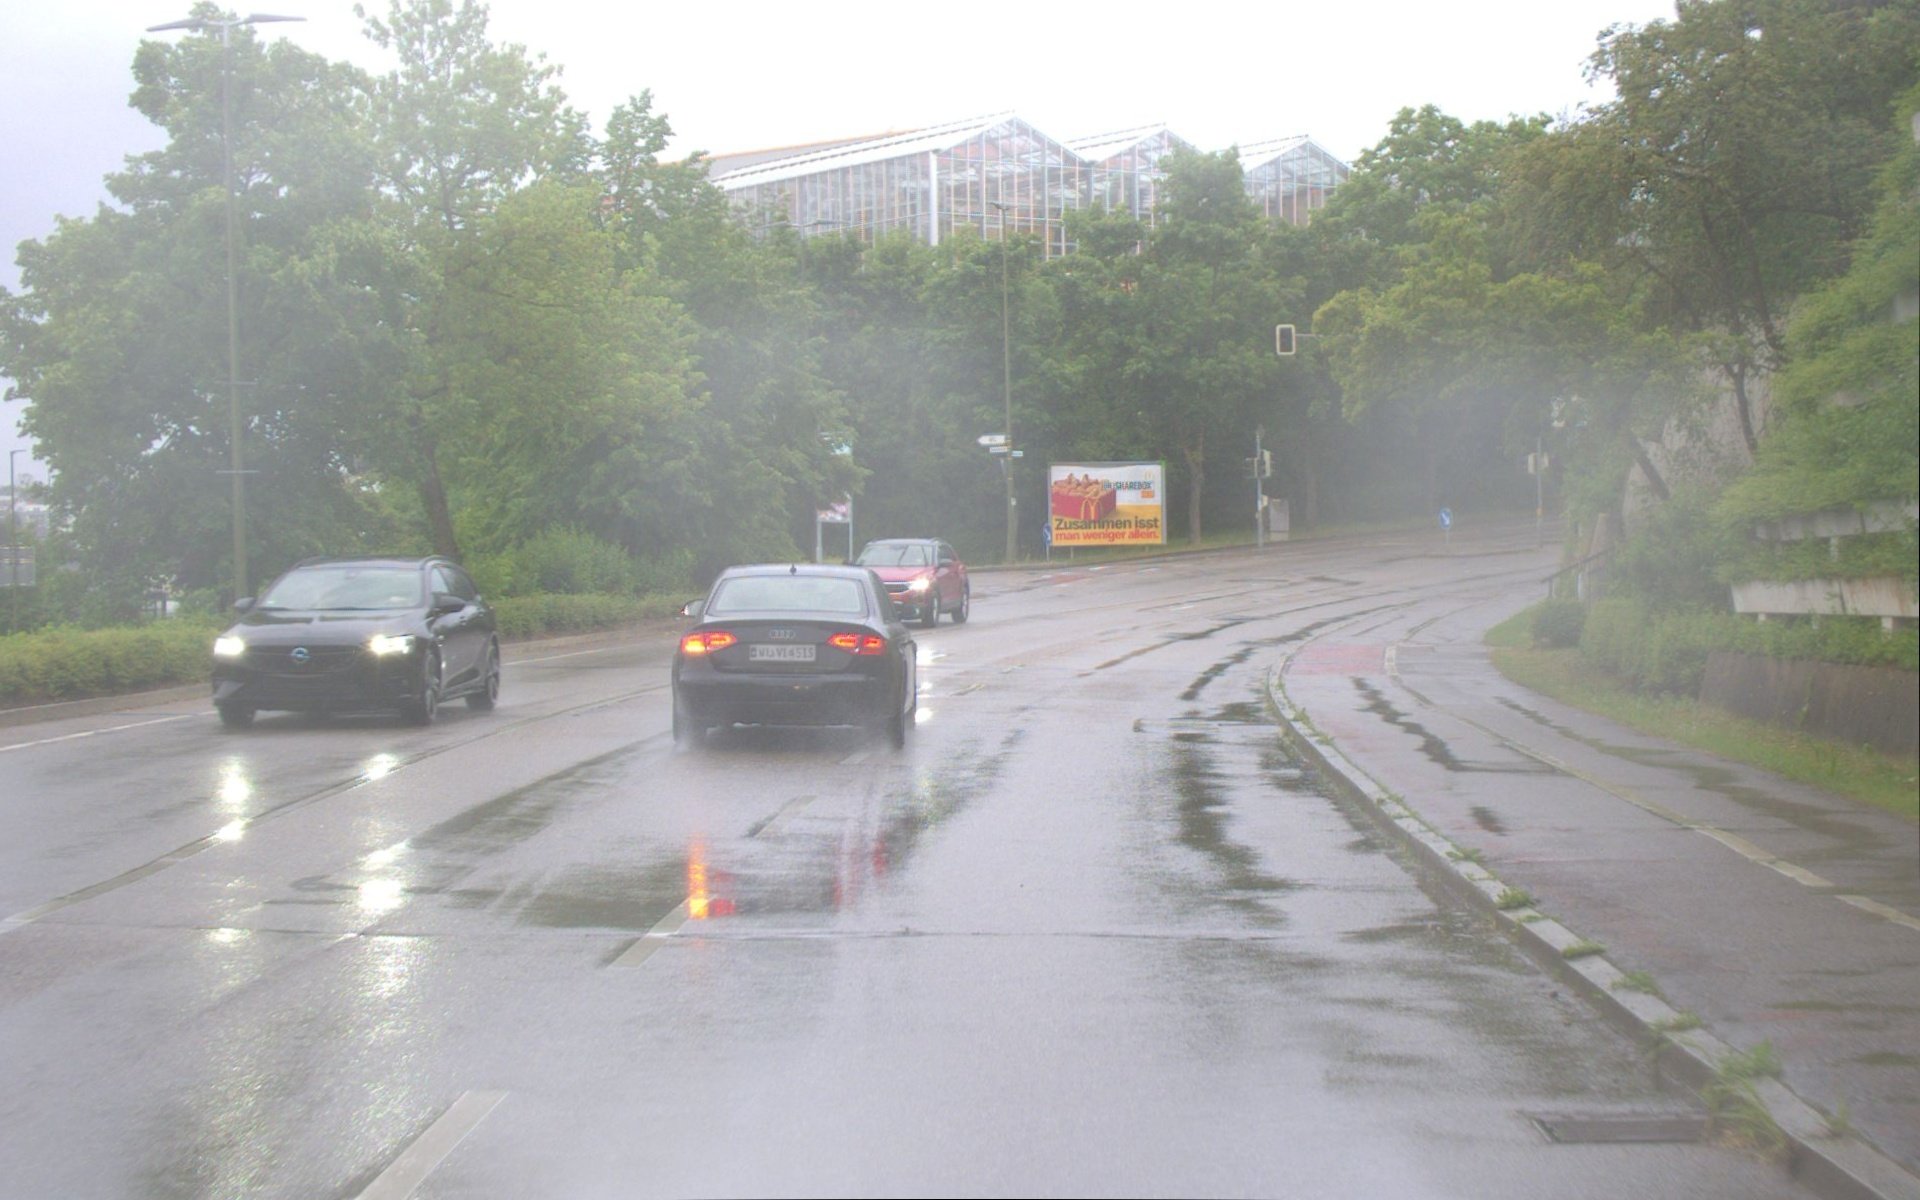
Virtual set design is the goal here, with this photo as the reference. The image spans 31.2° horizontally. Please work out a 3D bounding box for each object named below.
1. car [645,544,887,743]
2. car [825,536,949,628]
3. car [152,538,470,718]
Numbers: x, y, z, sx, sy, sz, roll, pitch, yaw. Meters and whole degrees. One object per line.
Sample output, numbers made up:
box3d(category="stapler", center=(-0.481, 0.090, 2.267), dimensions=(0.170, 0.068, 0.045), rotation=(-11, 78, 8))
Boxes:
box3d(category="car", center=(-1.470, 0.284, 26.956), dimensions=(1.754, 1.390, 4.001), rotation=(0, 2, -2))
box3d(category="car", center=(-1.269, -0.344, 61.365), dimensions=(1.754, 1.530, 4.000), rotation=(0, 2, 6))
box3d(category="car", center=(-5.728, 0.207, 30.888), dimensions=(1.723, 1.457, 4.543), rotation=(2, 1, 3))
